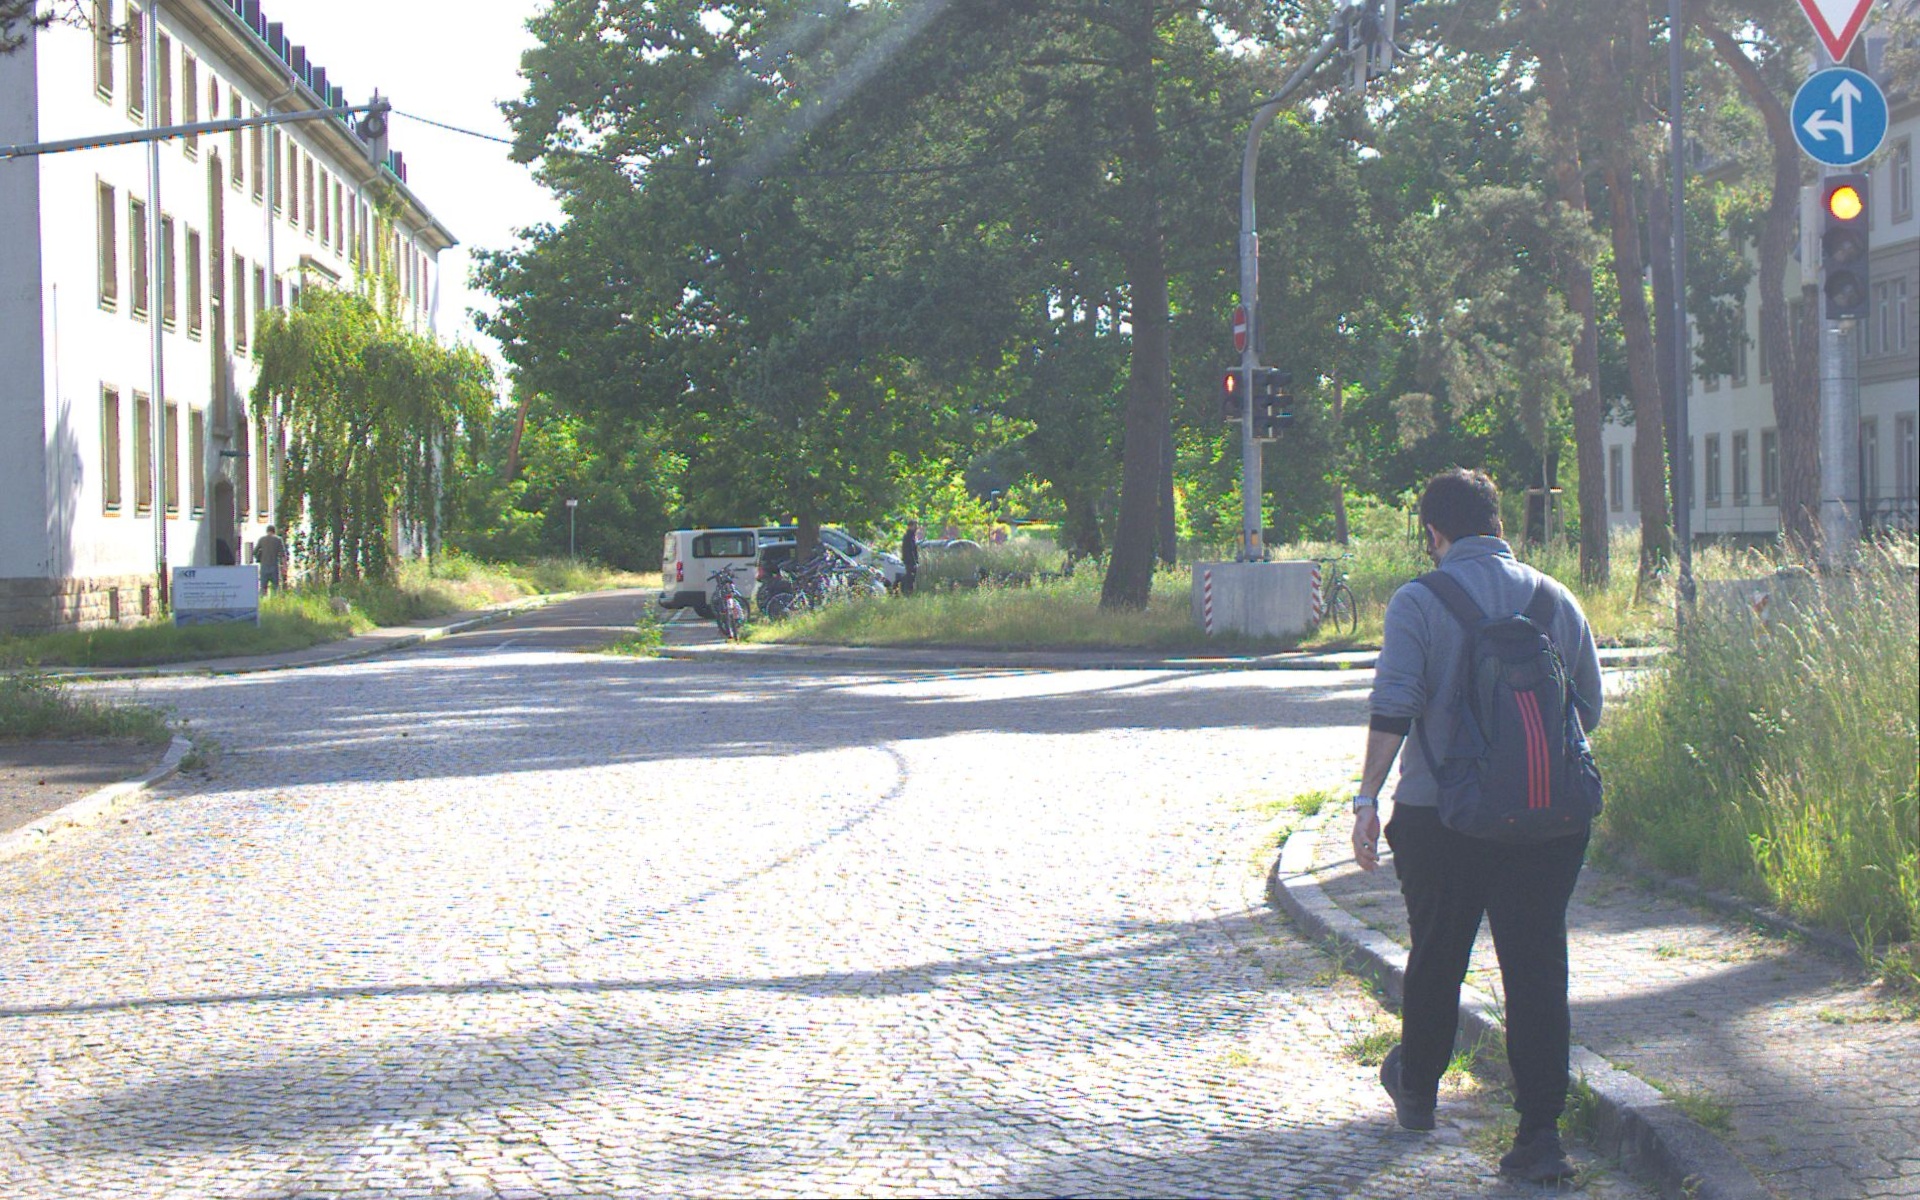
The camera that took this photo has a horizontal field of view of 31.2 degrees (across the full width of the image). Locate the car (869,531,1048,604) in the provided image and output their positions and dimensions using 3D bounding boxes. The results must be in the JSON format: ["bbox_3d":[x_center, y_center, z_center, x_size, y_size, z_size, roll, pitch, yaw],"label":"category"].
[{"bbox_3d":[-0.043,-0.736,76.916,3.743,1.574,1.742,-1,1,-10],"label":"car"}]

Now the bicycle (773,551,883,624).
[{"bbox_3d":[-2.159,-0.207,56.195,1.727,1.160,0.561,-1,1,-7],"label":"bicycle"}]

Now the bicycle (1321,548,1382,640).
[{"bbox_3d":[4.935,-0.092,43.417,0.722,1.111,2.583,-1,1,6],"label":"bicycle"}]

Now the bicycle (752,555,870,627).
[{"bbox_3d":[-2.388,-0.144,54.956,1.834,1.108,0.495,-1,1,-7],"label":"bicycle"}]

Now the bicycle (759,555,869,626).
[{"bbox_3d":[-2.353,-0.155,55.503,1.727,1.108,0.484,-1,1,-7],"label":"bicycle"}]

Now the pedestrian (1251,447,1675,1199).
[{"bbox_3d":[1.206,0.521,8.413,0.753,1.719,0.828,4,1,-4],"label":"pedestrian"}]

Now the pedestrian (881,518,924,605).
[{"bbox_3d":[-1.187,-0.797,71.334,0.759,1.777,0.684,-1,1,-11],"label":"pedestrian"}]

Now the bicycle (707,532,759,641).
[{"bbox_3d":[-3.414,-0.223,51.640,0.753,1.575,2.537,-1,1,-4],"label":"bicycle"}]

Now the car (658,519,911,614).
[{"bbox_3d":[-3.738,-0.730,72.806,5.065,1.911,2.001,-1,1,-12],"label":"car"}]

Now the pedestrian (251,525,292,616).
[{"bbox_3d":[-13.254,-0.573,66.182,0.606,1.746,0.630,-1,1,-26],"label":"pedestrian"}]

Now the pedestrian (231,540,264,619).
[{"bbox_3d":[-14.169,-0.403,68.384,0.606,1.554,0.545,-1,1,-10],"label":"pedestrian"}]
